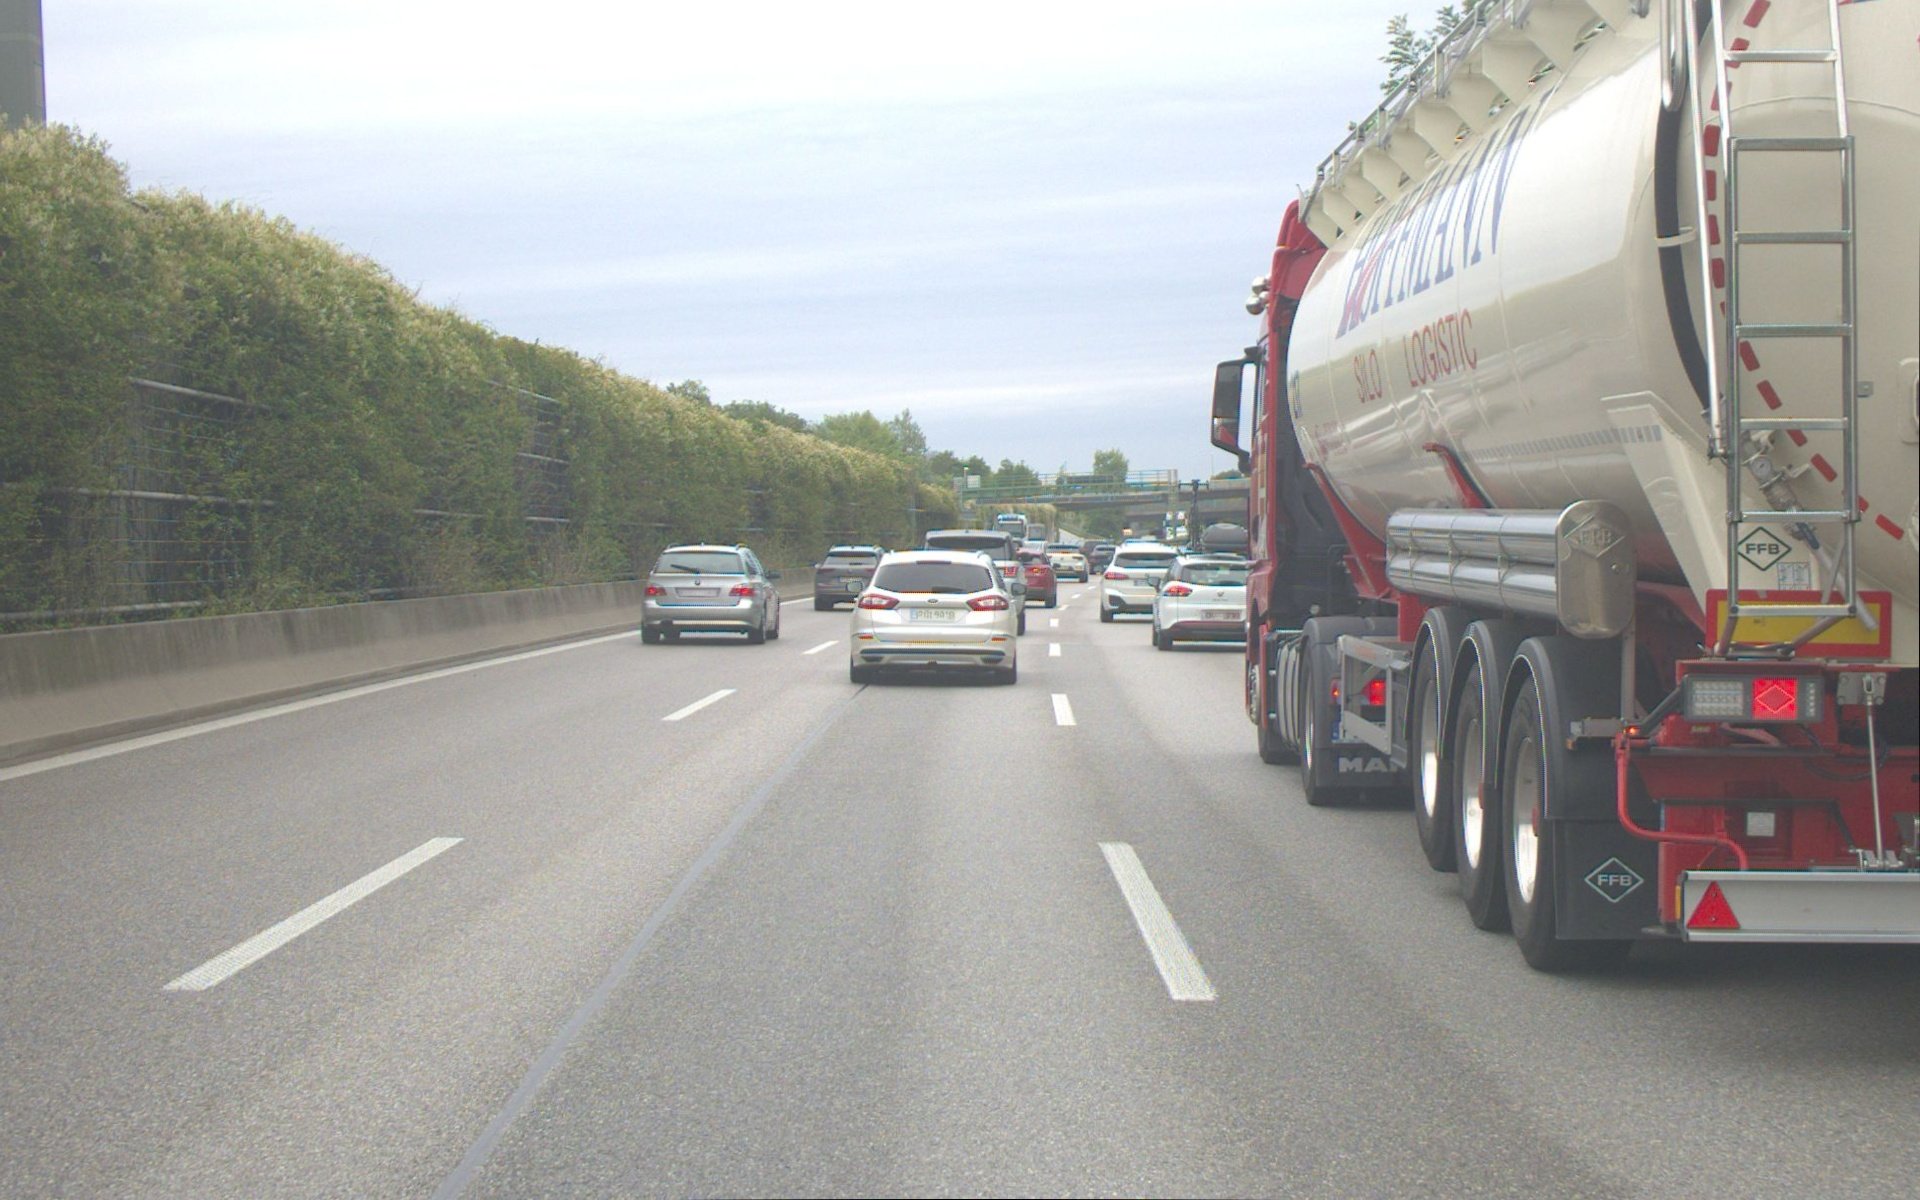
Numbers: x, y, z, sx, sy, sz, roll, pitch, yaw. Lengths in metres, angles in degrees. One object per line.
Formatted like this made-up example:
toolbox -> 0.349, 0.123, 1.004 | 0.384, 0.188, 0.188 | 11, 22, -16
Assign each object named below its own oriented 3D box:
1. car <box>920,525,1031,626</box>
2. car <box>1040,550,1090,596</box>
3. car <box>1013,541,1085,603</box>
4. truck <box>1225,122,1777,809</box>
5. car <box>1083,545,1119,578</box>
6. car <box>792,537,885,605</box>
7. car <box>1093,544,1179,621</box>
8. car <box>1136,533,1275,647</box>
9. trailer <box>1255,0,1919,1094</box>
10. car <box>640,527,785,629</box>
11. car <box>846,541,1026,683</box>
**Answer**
car -> 0.298, -0.448, 58.872 | 1.689, 1.501, 3.871 | 4, 2, 2
car -> 4.105, -1.066, 134.351 | 1.790, 1.773, 3.871 | -1, 1, 4
car -> 2.217, -0.710, 84.698 | 1.689, 1.501, 3.871 | 0, 1, 3
truck -> 3.326, -0.792, 22.824 | 2.695, 3.899, 6.556 | 0, 0, 1
car -> 6.737, -1.846, 163.972 | 1.689, 1.534, 3.871 | 0, 1, 3
car -> -2.737, -0.678, 78.649 | 1.720, 1.507, 5.030 | 0, 1, 3
car -> 3.557, -0.360, 69.579 | 1.689, 1.501, 3.871 | 0, 0, 3
car -> 3.624, -0.172, 51.436 | 1.816, 1.620, 5.030 | 0, 1, 1
trailer -> 3.275, -0.683, 15.817 | 2.668, 3.925, 13.130 | 0, 0, 0
car -> -3.733, -0.304, 52.521 | 1.720, 1.464, 5.029 | 0, -1, 1
car -> -0.208, 0.095, 39.135 | 1.892, 1.499, 5.030 | 0, 1, 1
